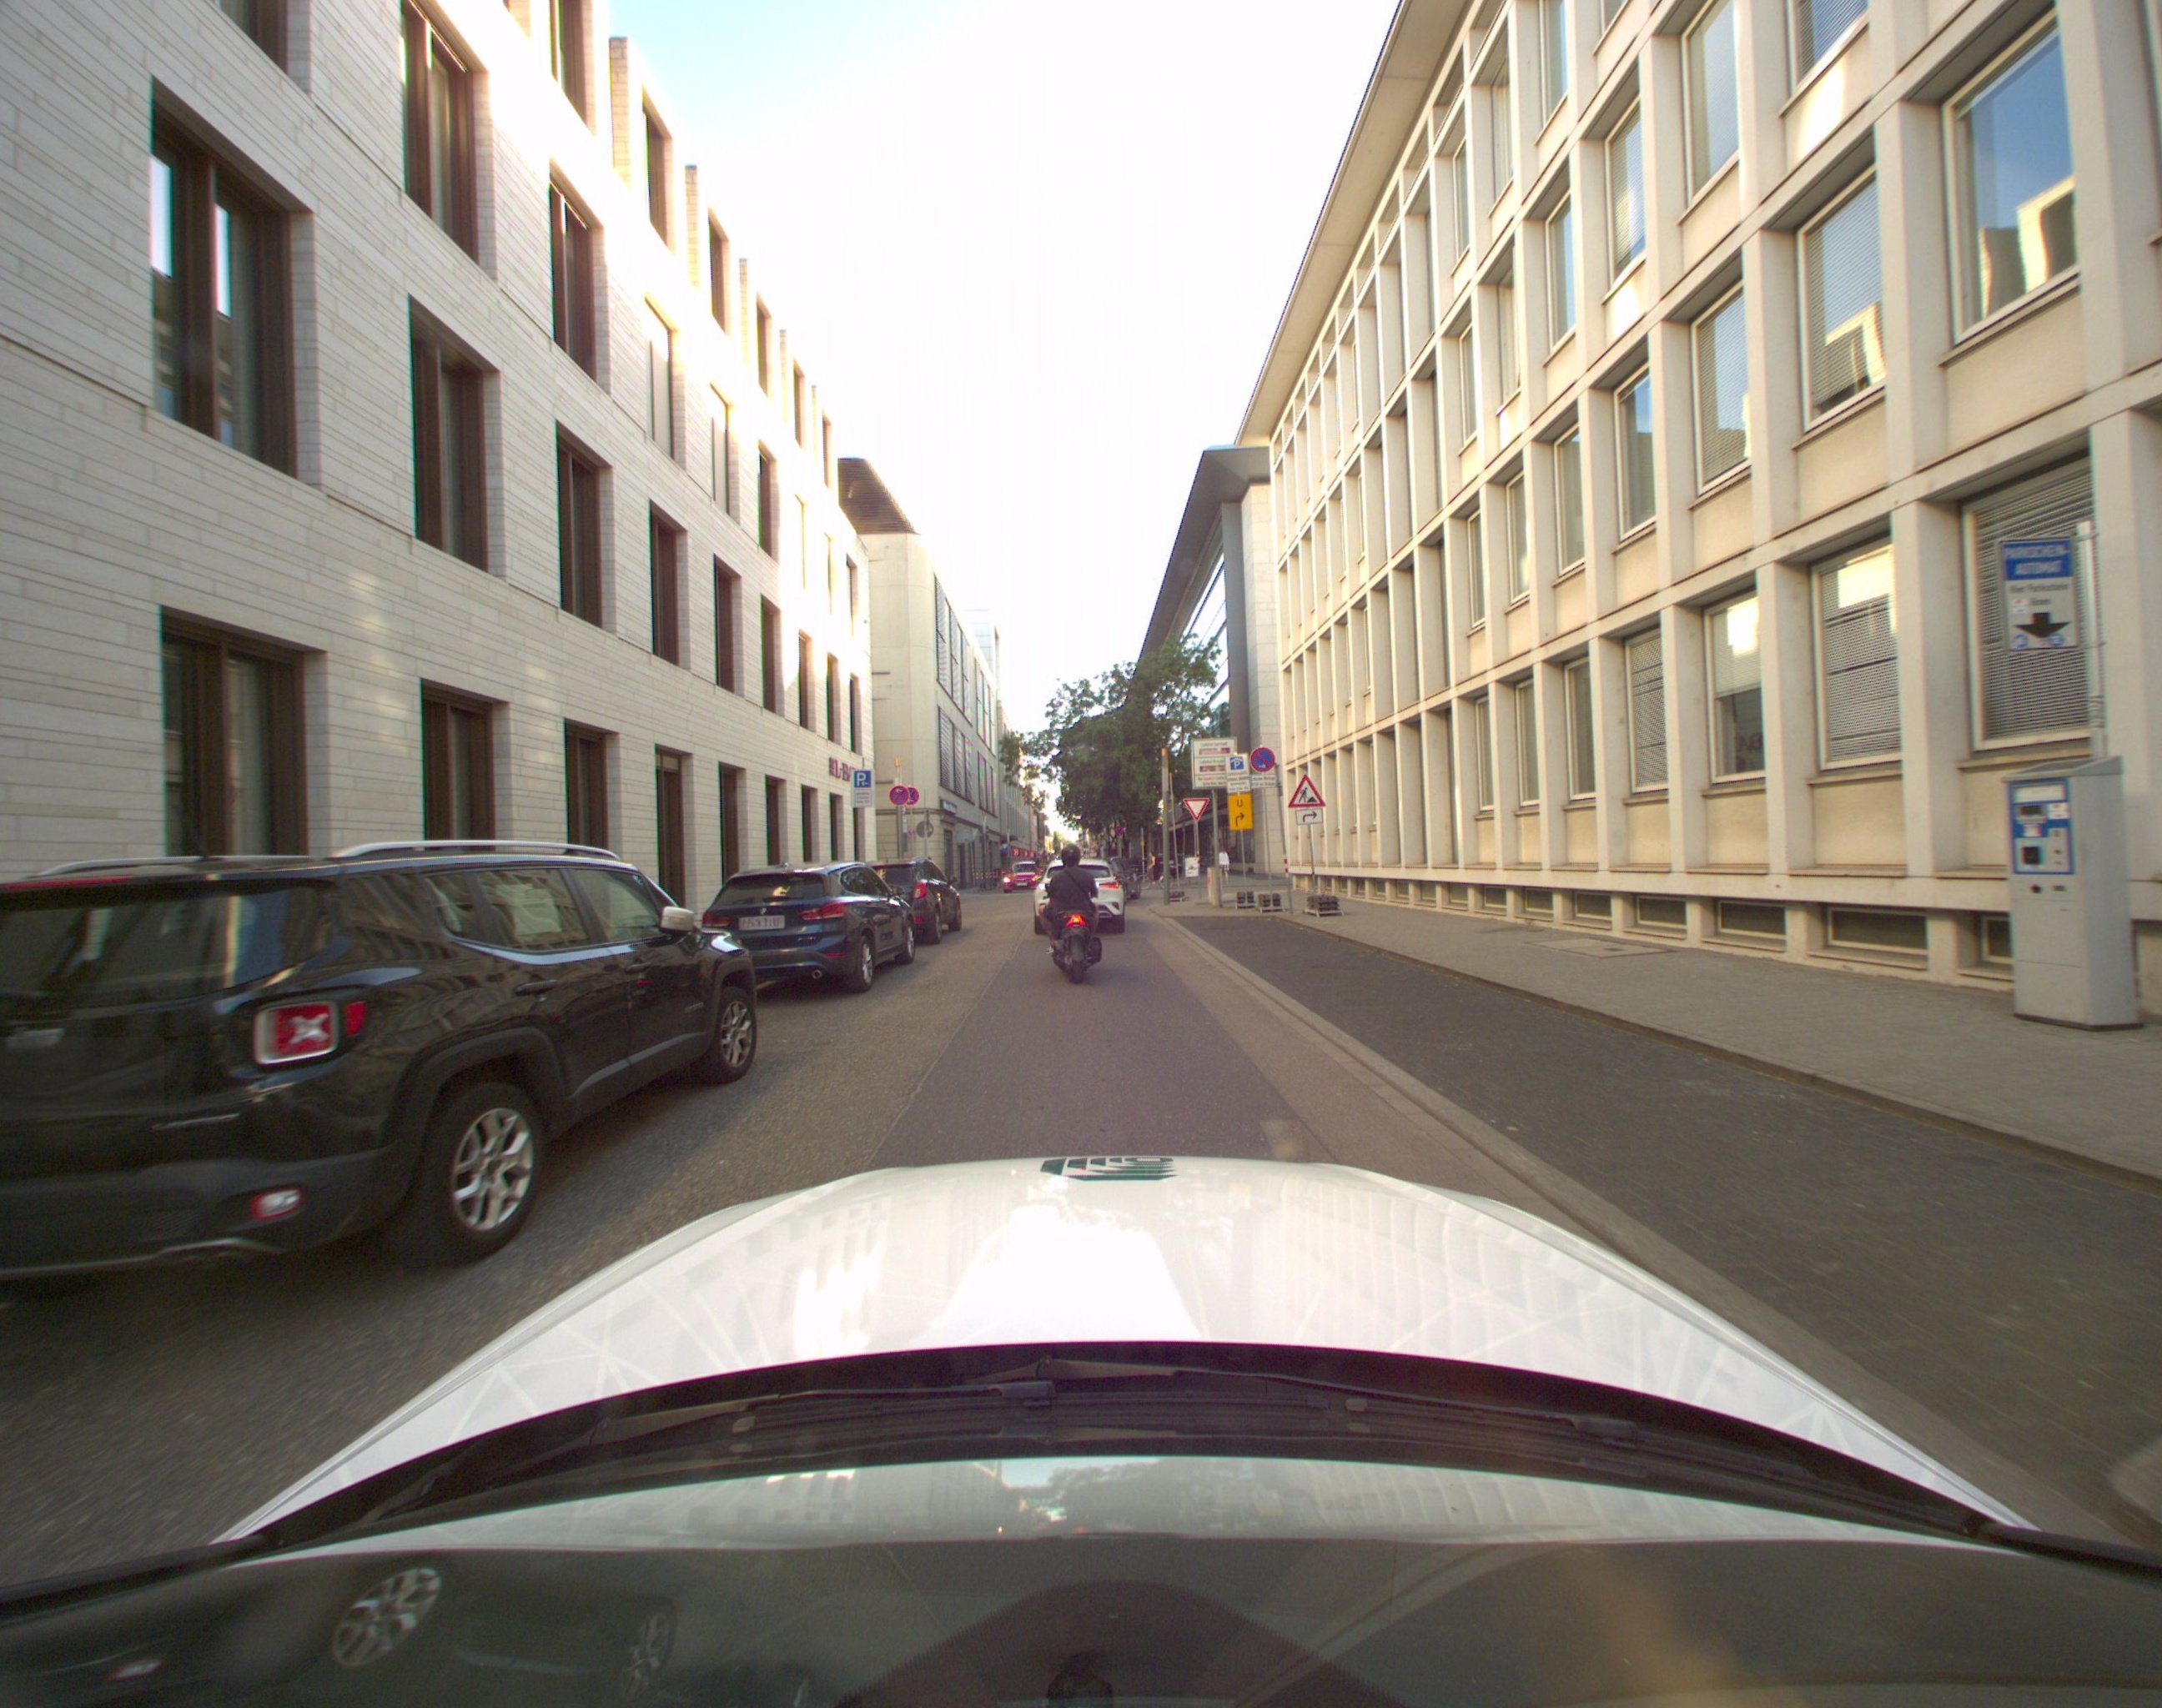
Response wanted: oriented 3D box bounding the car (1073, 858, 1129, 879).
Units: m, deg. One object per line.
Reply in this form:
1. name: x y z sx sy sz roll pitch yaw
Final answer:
1. car: 1.852 1.368 76.071 4.994 1.499 1.998 -6 -1 -3

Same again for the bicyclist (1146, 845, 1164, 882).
1. bicyclist: 3.360 0.430 36.974 0.624 1.625 0.501 -2 -2 24

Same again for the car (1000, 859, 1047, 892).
1. car: -2.773 1.064 39.934 1.815 1.465 4.264 -2 -2 2

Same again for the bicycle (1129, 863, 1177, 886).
1. bicycle: 3.276 0.922 37.003 2.083 0.995 0.521 -2 -2 24

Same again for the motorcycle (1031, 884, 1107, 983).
1. motorcycle: -0.125 0.966 10.496 0.869 1.109 1.839 -1 -1 1

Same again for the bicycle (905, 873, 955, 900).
1. bicycle: -5.766 1.241 31.130 1.818 0.974 0.508 -1 -1 -16

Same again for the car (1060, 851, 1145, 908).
1. car: 0.803 0.759 26.547 1.810 1.541 4.380 -4 0 13

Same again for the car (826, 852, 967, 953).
1. car: -3.591 0.860 16.647 1.817 1.677 4.262 -4 0 0

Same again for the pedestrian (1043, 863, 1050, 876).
1. pedestrian: -4.158 1.887 97.574 0.729 1.574 0.636 -1 -1 0

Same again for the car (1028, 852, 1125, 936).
1. car: -0.123 0.770 17.821 1.817 1.541 4.261 -2 0 -1

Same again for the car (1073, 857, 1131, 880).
1. car: 1.885 1.296 73.607 4.994 1.499 1.998 -6 -1 -3

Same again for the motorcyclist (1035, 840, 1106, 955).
1. motorcyclist: -0.129 0.551 10.511 0.864 1.427 0.455 -1 -1 0

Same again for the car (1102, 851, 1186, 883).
1. car: 3.957 0.801 51.730 4.994 1.499 1.998 -6 -1 -3

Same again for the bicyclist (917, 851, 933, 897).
1. bicyclist: -5.964 0.766 31.089 0.551 1.732 0.498 -1 -2 -17

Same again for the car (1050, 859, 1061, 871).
1. car: -5.059 2.266 161.657 1.989 2.329 5.015 0 -1 -3

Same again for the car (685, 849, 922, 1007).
1. car: -3.432 0.809 10.967 1.735 1.594 4.151 -4 0 -1

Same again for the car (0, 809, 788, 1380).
1. car: -3.302 0.777 4.560 1.817 1.714 4.015 -4 0 -1

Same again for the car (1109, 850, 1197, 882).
1. car: 4.323 0.732 49.298 4.994 1.451 1.998 -6 -1 -3

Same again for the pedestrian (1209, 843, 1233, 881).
1. pedestrian: 6.585 0.397 38.337 0.902 1.706 0.834 -5 -1 1
